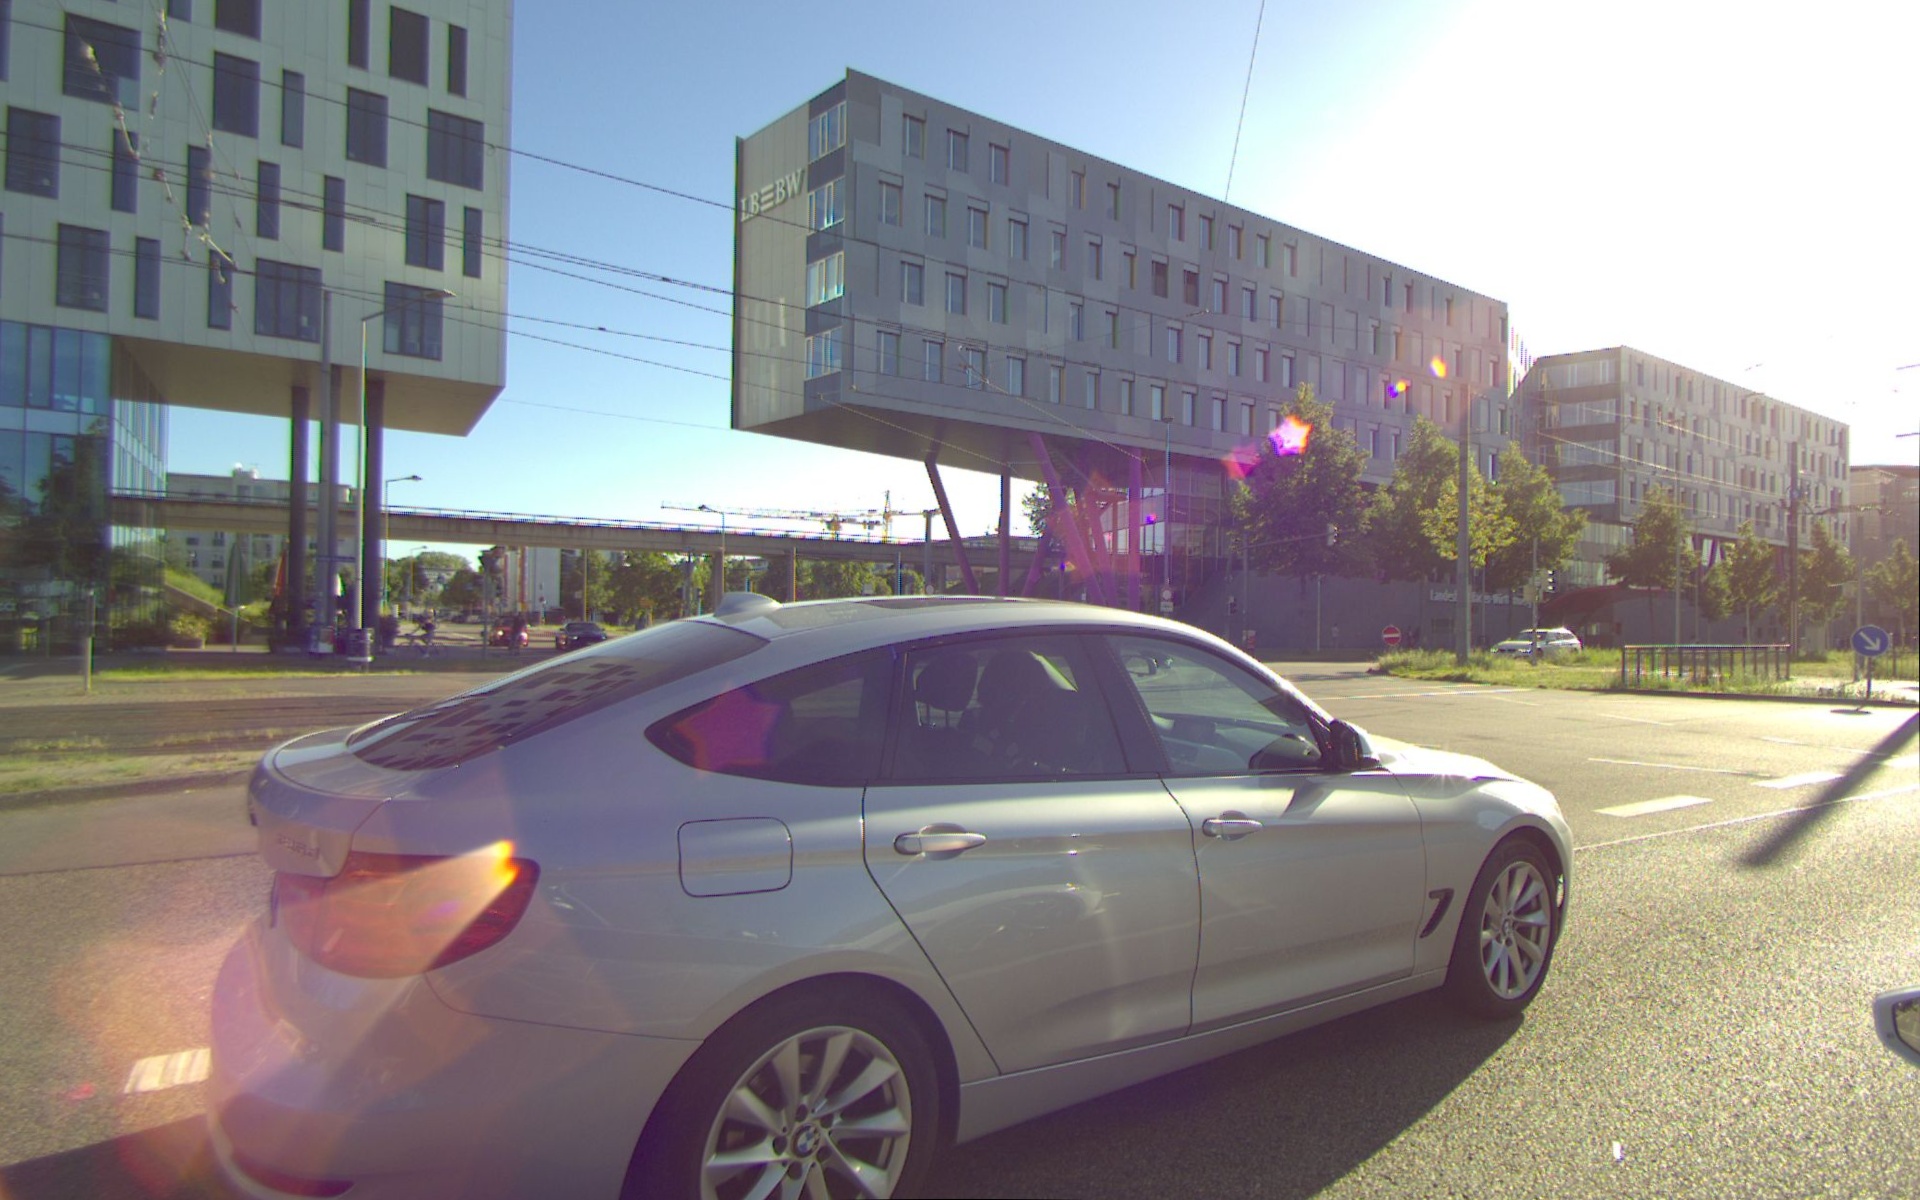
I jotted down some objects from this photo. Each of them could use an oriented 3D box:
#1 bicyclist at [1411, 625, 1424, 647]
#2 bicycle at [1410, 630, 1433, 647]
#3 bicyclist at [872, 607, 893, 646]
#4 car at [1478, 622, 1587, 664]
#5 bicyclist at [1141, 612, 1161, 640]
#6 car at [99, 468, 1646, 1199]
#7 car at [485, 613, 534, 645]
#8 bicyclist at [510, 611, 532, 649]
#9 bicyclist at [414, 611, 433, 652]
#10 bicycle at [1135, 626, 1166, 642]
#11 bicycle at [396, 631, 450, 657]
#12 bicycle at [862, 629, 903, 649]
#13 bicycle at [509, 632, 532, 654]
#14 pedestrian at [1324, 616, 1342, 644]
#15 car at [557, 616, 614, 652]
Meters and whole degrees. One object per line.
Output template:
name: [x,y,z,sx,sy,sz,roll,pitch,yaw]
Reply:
bicyclist: [33.088,2.603,72.656,0.755,1.515,0.555,1,-1,-33]
bicycle: [33.260,2.776,72.367,1.954,1.188,0.517,2,-1,-33]
bicyclist: [-3.566,1.223,46.186,0.828,1.749,0.527,1,-1,-32]
car: [23.472,1.736,41.123,4.821,1.583,1.981,1,-1,-34]
bicyclist: [10.364,1.411,54.459,0.948,1.454,0.567,1,-1,-32]
car: [0.314,0.627,3.528,4.860,1.547,1.787,2,1,-34]
car: [-23.453,1.502,52.186,1.976,1.586,3.970,1,-1,-29]
bicyclist: [-18.931,1.275,43.295,0.742,1.604,0.949,1,-1,-30]
bicyclist: [-18.958,1.122,35.494,0.547,1.442,0.479,1,-1,-31]
bicycle: [10.336,1.841,54.446,1.673,0.874,0.572,1,-1,-32]
bicycle: [-18.971,1.549,35.487,1.673,0.874,0.479,1,-1,-32]
bicycle: [-3.562,1.785,46.190,1.813,0.874,0.525,1,-1,-32]
bicycle: [-18.967,1.857,43.347,0.740,0.874,1.816,1,-1,-30]
pedestrian: [24.664,1.989,66.450,0.861,1.846,0.717,1,-1,-32]
car: [-17.773,1.580,47.583,1.976,1.586,3.970,1,-1,-29]
